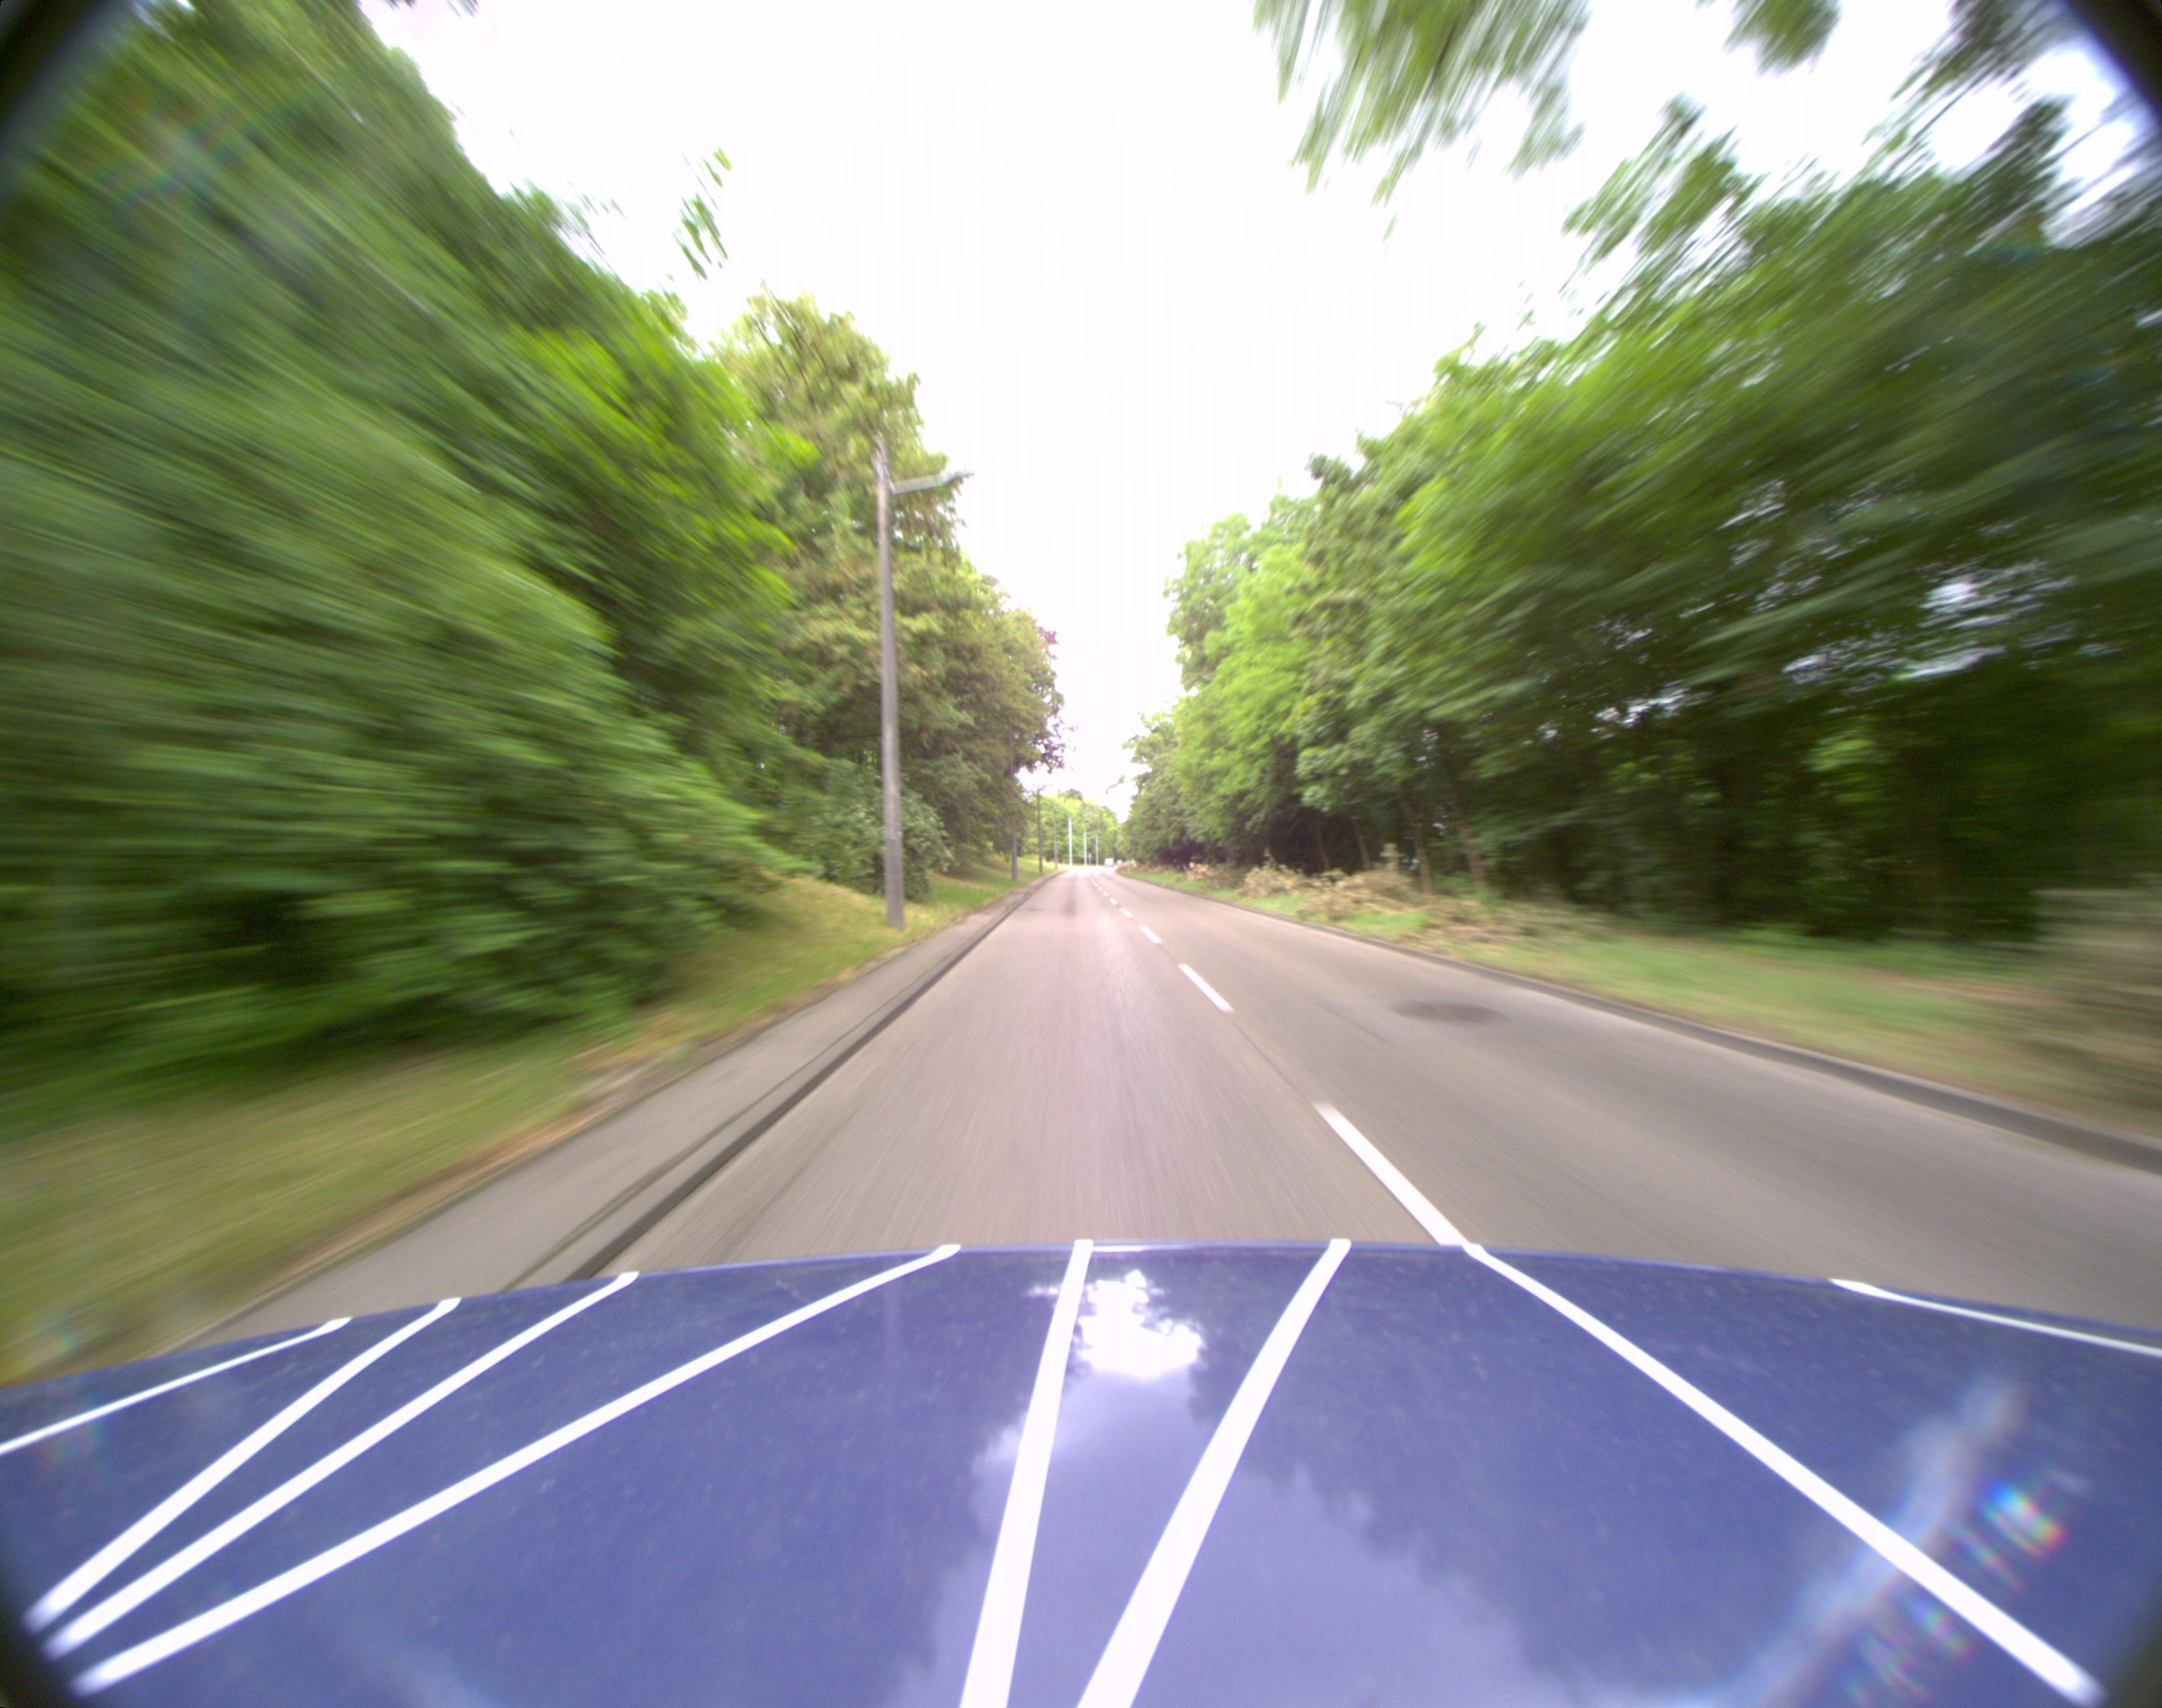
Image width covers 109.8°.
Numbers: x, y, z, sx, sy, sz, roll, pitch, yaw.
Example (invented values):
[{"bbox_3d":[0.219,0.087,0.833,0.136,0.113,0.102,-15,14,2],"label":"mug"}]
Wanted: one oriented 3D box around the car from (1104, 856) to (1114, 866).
[{"bbox_3d":[5.826,1.423,159.052,1.998,1.936,4.946,-1,0,1],"label":"car"}]
